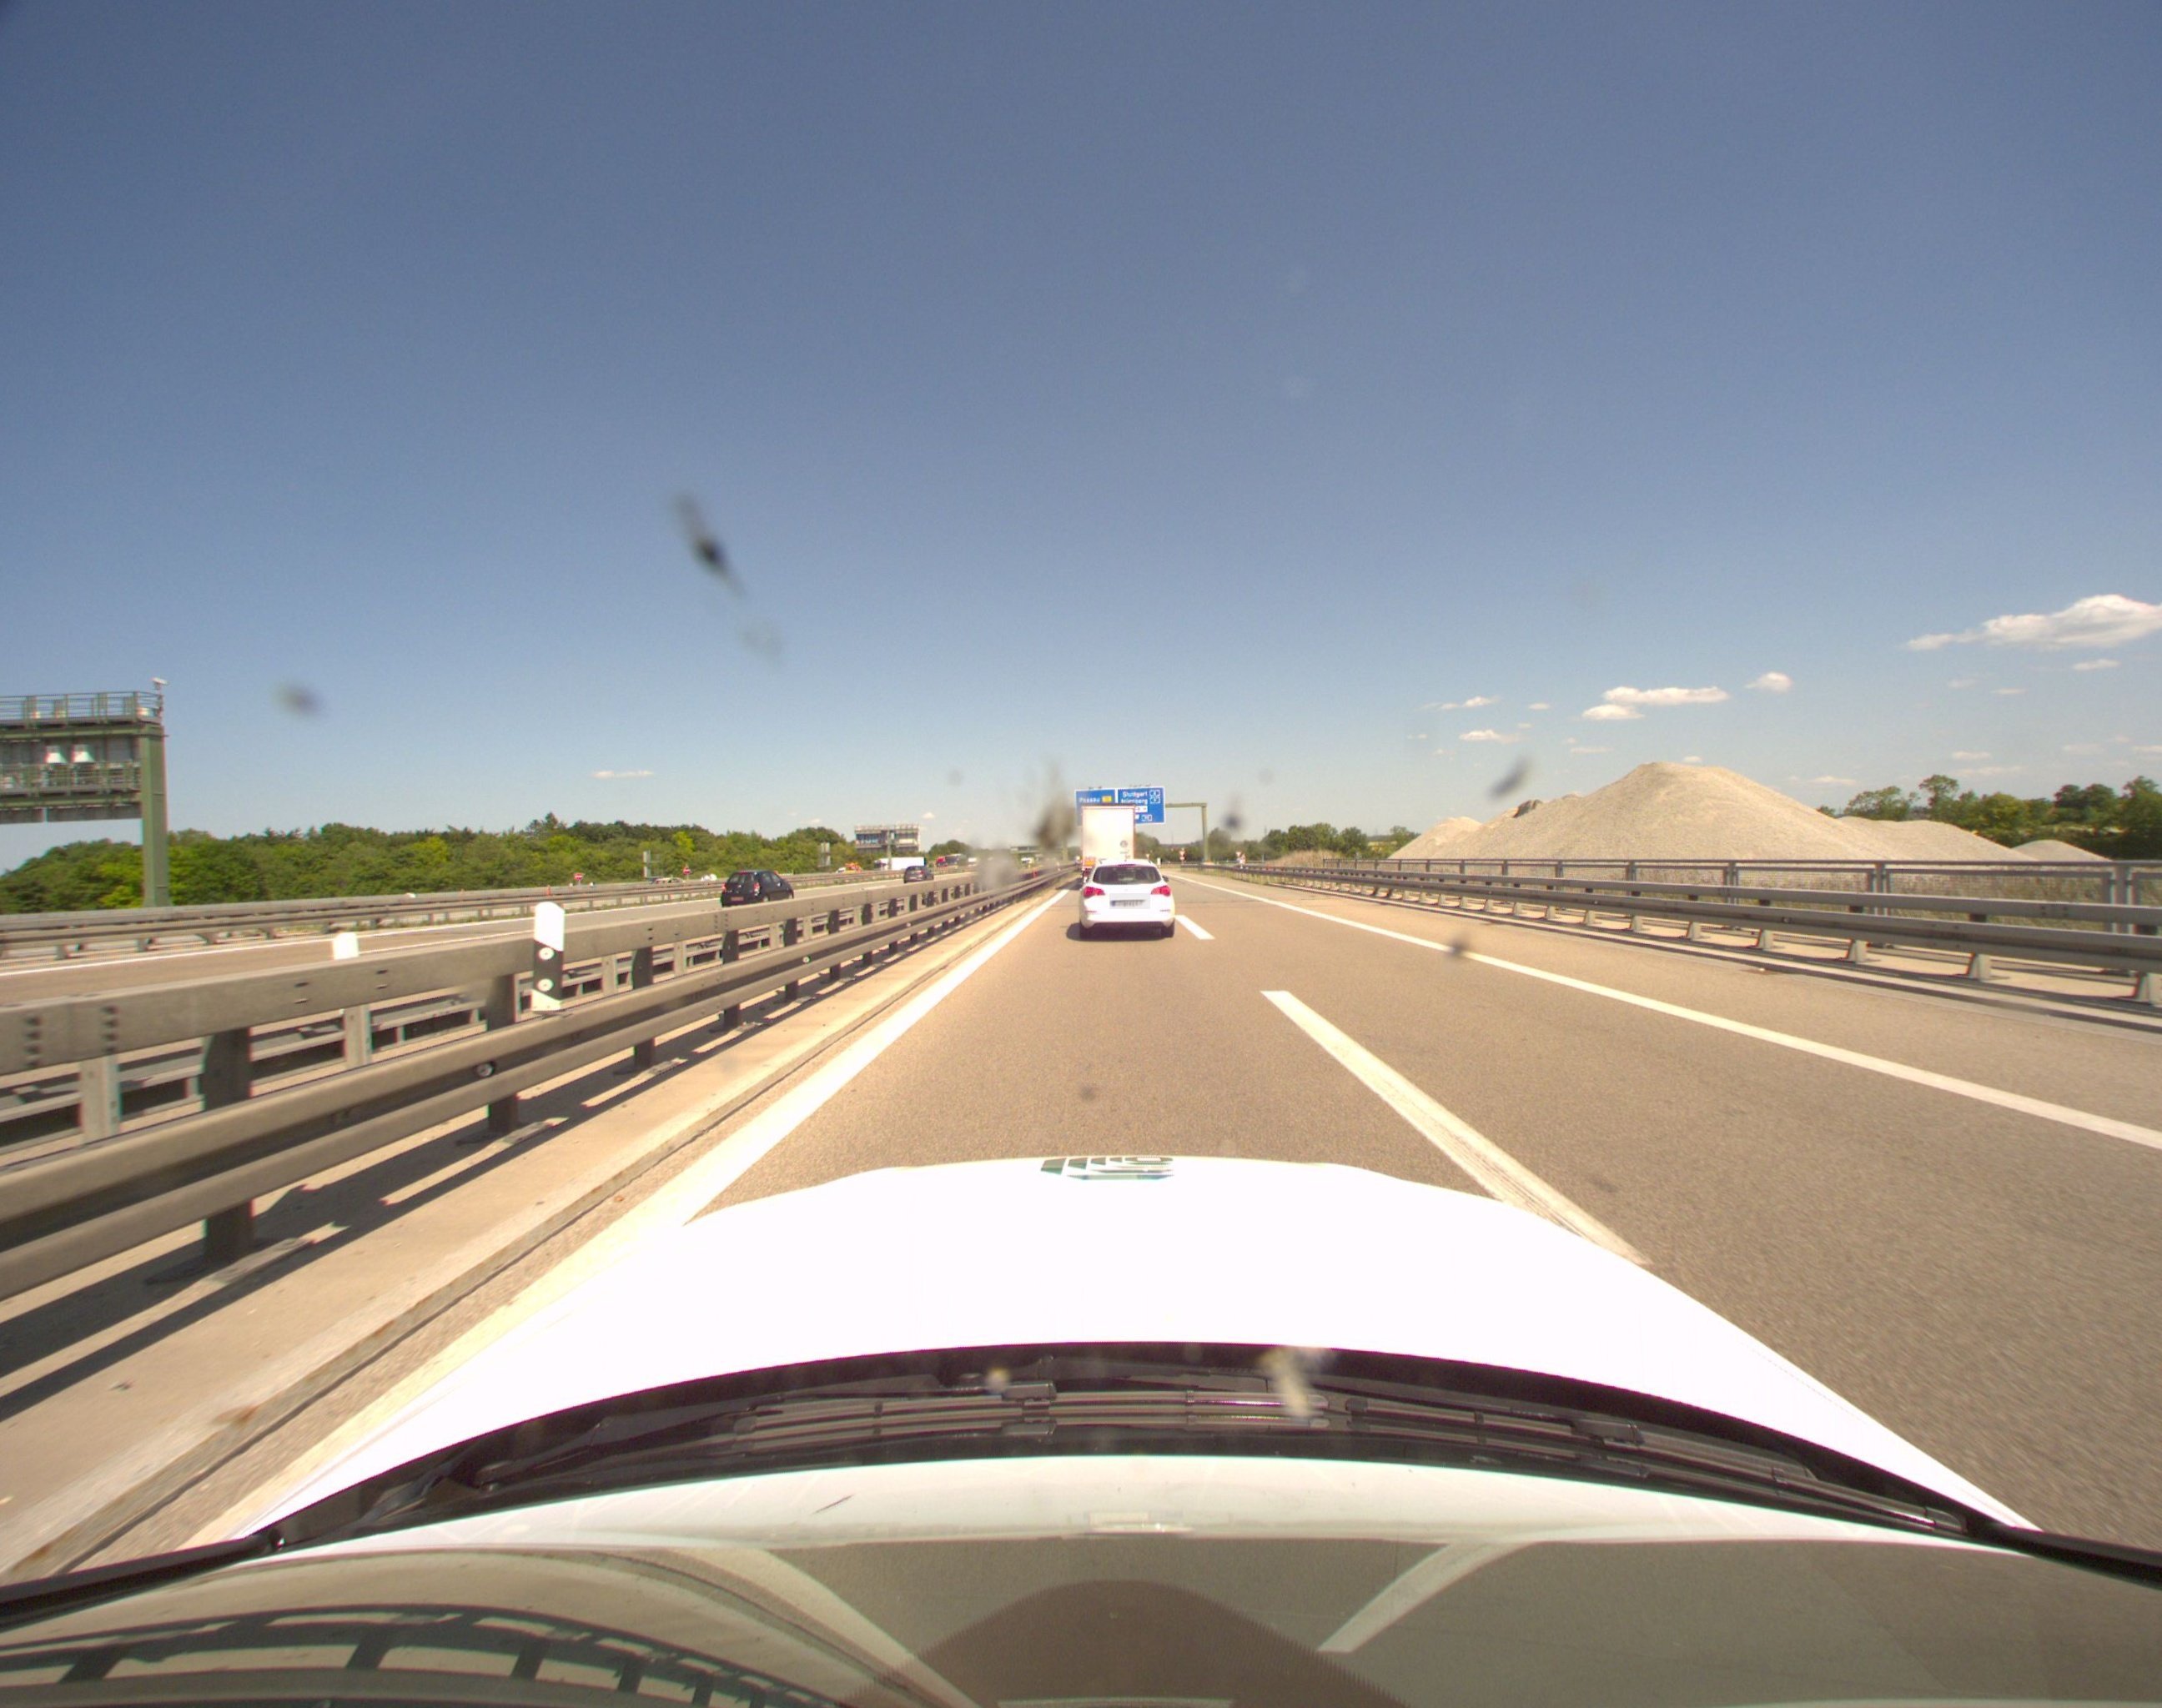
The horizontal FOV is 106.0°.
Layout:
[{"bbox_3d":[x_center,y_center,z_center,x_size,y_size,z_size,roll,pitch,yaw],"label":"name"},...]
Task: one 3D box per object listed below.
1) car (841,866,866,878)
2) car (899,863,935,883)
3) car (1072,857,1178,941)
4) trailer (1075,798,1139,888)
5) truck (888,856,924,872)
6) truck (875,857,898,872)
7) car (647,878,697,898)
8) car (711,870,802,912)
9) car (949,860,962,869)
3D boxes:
[{"bbox_3d":[-32.205,2.577,115.597,1.831,1.517,5.299,-2,0,2],"label":"car"},{"bbox_3d":[-12.577,1.444,62.831,1.756,1.422,4.218,-2,0,2],"label":"car"},{"bbox_3d":[0.848,0.805,16.508,1.847,1.443,4.373,-1,0,2],"label":"car"},{"bbox_3d":[1.389,-0.435,43.503,2.901,4.145,11.261,-1,-1,2],"label":"trailer"},{"bbox_3d":[-41.531,2.344,193.851,1.976,3.300,12.235,-2,0,21],"label":"truck"},{"bbox_3d":[-44.516,2.431,186.678,1.975,3.300,5.419,-2,0,27],"label":"truck"},{"bbox_3d":[-35.030,2.896,69.941,1.831,1.517,4.533,-2,0,2],"label":"car"},{"bbox_3d":[-12.846,1.434,32.537,1.823,1.432,4.218,-1,0,1],"label":"car"},{"bbox_3d":[-24.876,2.029,161.033,1.782,1.640,4.001,-2,0,1],"label":"car"}]
